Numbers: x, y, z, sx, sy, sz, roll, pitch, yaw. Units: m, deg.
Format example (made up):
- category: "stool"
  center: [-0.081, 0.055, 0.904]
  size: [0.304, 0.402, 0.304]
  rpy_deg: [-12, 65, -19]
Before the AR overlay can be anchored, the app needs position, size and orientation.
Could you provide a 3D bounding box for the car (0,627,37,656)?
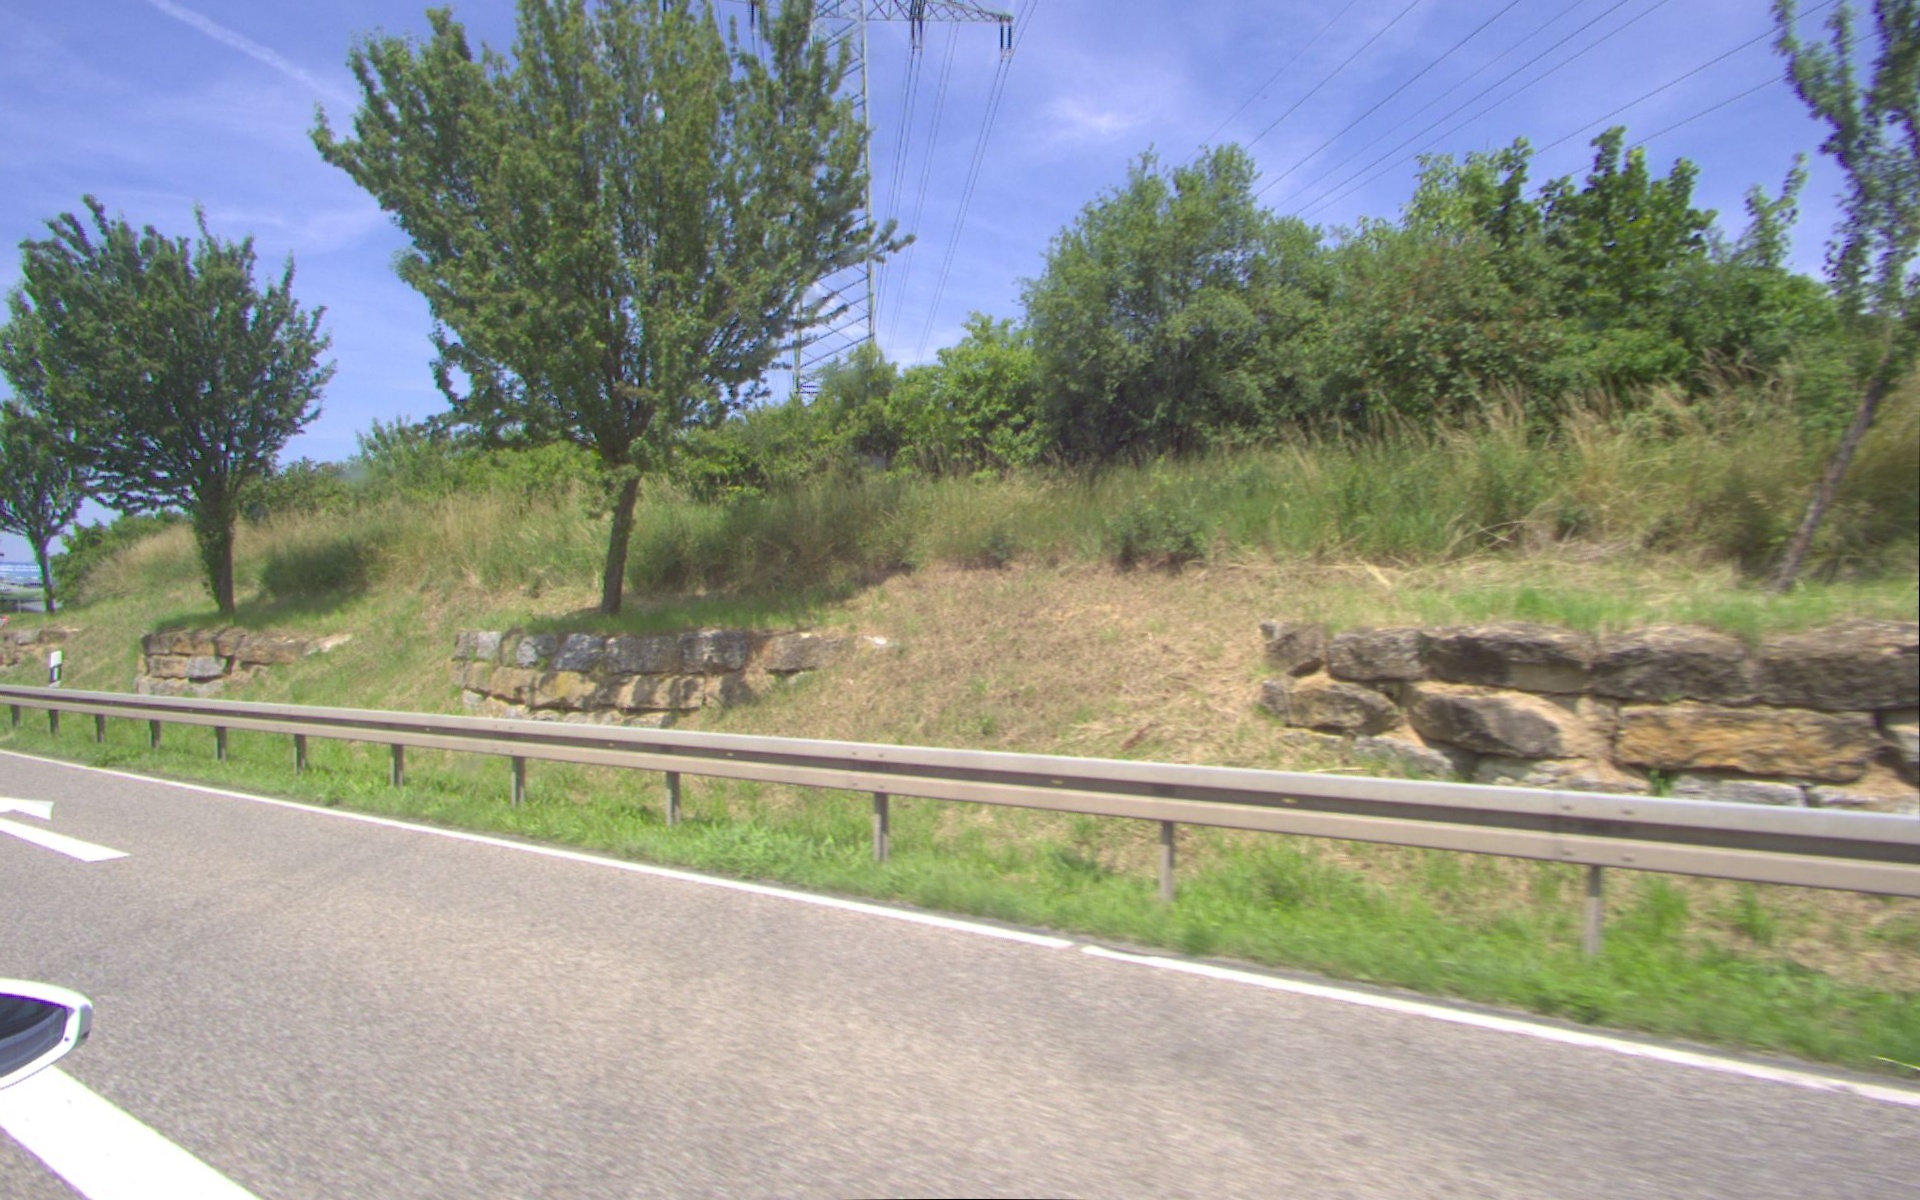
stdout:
- category: "car"
  center: [-51.632, 2.220, 52.569]
  size: [1.687, 1.530, 4.361]
  rpy_deg: [-1, -1, 22]
